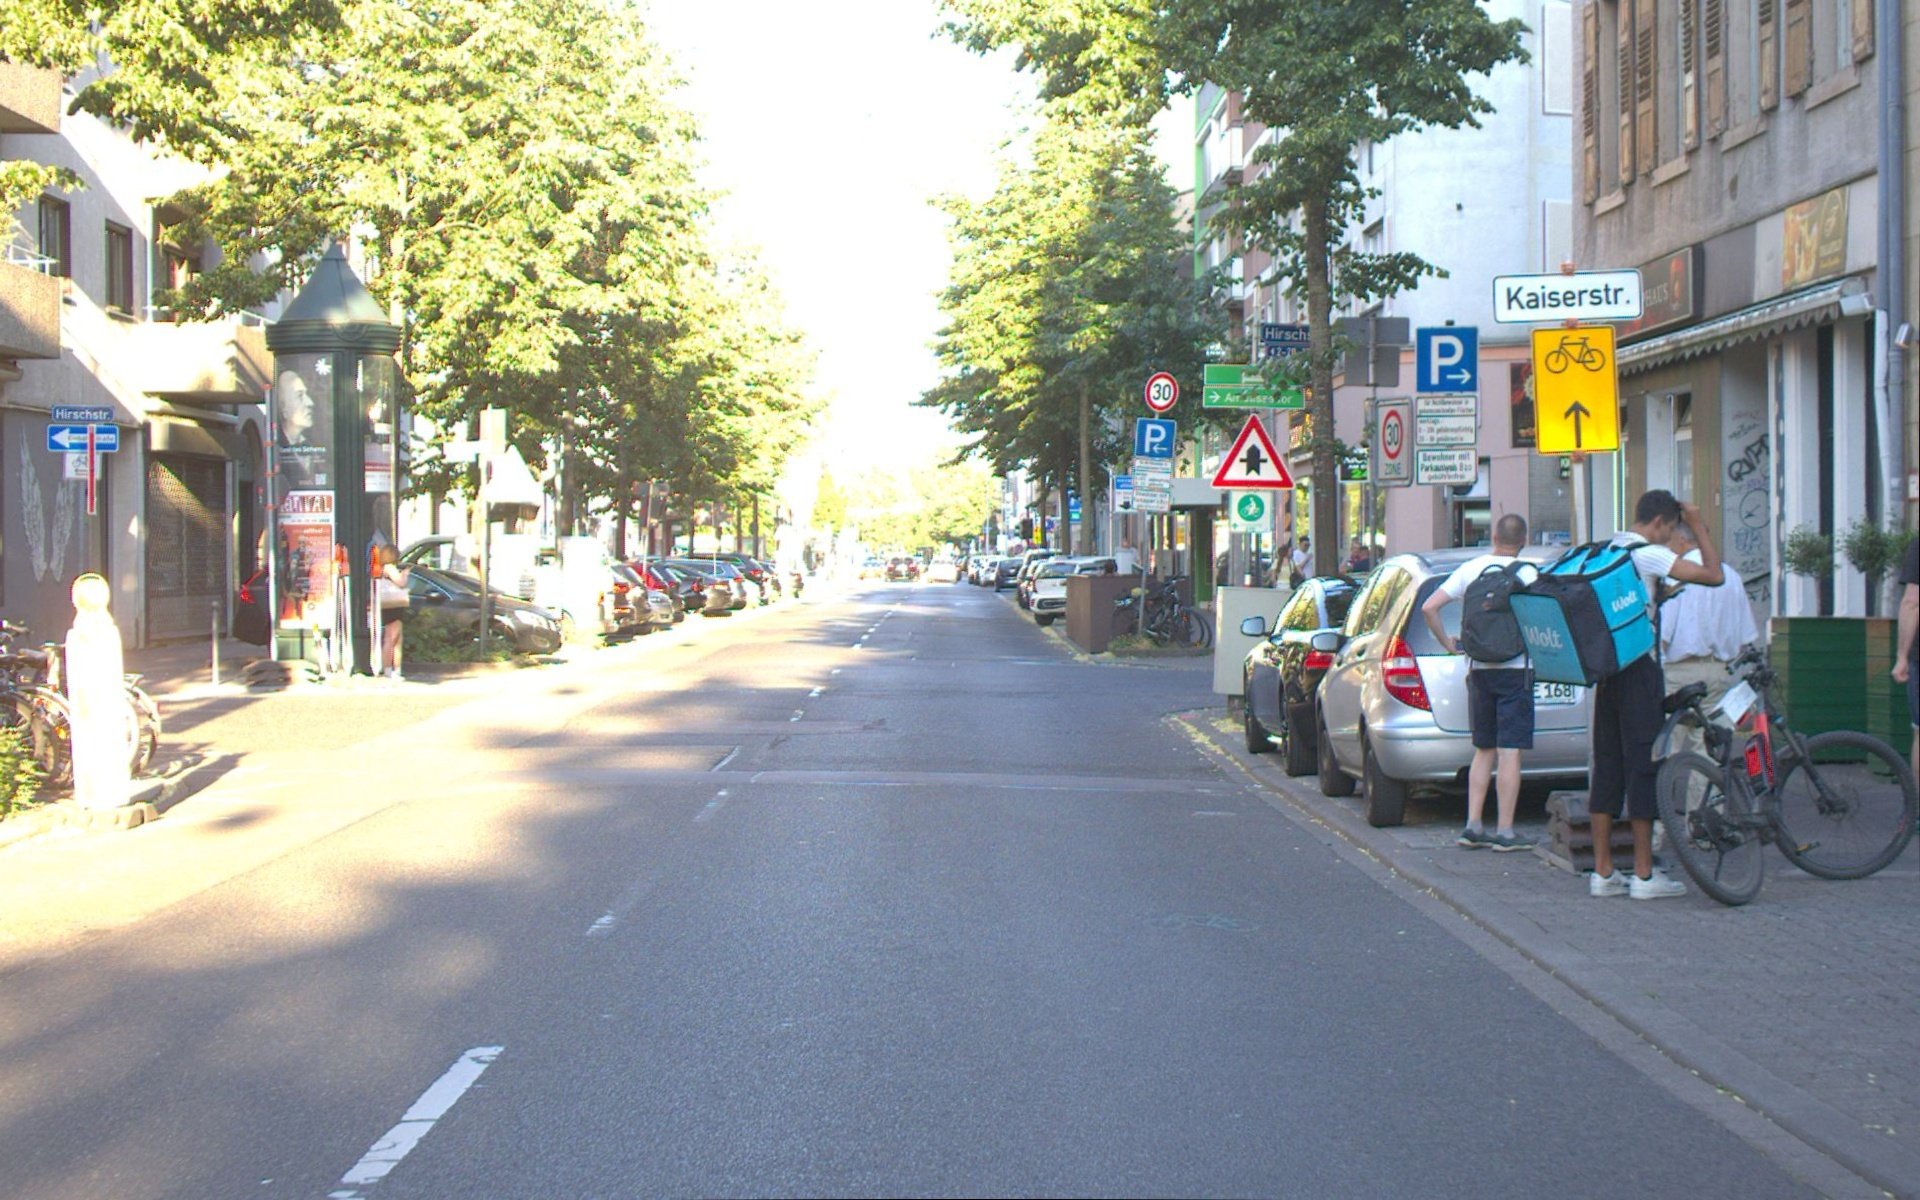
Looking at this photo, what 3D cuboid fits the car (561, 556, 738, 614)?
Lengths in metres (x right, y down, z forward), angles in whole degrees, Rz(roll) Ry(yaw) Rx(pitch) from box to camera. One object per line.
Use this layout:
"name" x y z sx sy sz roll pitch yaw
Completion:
"car" -8.101 -0.409 89.997 4.442 1.444 1.919 1 0 1

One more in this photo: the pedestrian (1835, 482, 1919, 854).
"pedestrian" 5.092 0.316 17.657 0.822 1.847 1.097 -3 1 -2

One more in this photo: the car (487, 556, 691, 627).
"car" -8.469 -0.201 78.763 4.442 1.562 1.919 1 0 1

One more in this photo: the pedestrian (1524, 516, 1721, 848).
"pedestrian" 3.528 0.424 18.361 0.677 1.700 0.825 -3 1 -15

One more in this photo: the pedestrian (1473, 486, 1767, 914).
"pedestrian" 2.946 0.430 15.412 1.013 1.819 0.780 -3 1 -10

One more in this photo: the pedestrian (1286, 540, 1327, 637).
"pedestrian" 6.028 -0.204 59.781 0.631 1.674 0.891 0 1 11

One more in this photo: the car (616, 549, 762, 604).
"car" -8.279 -0.717 105.269 4.304 1.592 1.919 1 0 1

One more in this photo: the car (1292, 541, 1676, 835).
"car" 3.122 0.459 21.206 1.687 1.569 4.013 -3 1 0

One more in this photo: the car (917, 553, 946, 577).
"car" -1.767 -2.143 211.716 1.721 1.470 3.303 0 0 1

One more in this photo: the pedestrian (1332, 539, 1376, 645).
"pedestrian" 6.047 -0.133 52.827 0.567 1.594 0.663 -1 2 0

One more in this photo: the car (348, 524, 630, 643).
"car" -8.066 -0.291 59.186 4.571 1.955 1.991 1 0 0

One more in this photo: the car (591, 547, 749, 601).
"car" -8.501 -0.768 100.870 4.442 1.518 1.919 1 0 1

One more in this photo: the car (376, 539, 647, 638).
"car" -8.021 -0.220 61.817 4.571 1.692 2.060 1 0 1

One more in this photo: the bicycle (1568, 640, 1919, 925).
"bicycle" 3.590 0.777 15.364 0.866 1.095 1.922 -1 2 39

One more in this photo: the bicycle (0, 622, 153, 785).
"bicycle" -6.512 0.698 23.864 1.683 1.075 0.444 3 -1 8

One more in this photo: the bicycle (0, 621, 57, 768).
"bicycle" -7.410 0.676 25.147 1.486 1.055 0.471 1 0 -6

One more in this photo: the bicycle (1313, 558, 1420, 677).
"bicycle" 3.941 0.164 33.465 0.778 1.108 1.899 -1 0 0

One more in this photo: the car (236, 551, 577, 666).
"car" -7.800 0.113 48.721 4.546 1.536 1.811 1 0 -1

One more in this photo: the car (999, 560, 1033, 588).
"car" 2.565 -1.184 157.299 1.513 1.271 3.303 0 0 1

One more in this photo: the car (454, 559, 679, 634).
"car" -8.149 -0.082 71.470 4.442 1.479 1.809 1 0 1

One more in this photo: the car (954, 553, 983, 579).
"car" 0.530 -2.083 209.610 1.752 1.535 3.303 0 0 1

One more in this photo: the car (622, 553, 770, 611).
"car" -8.214 -0.561 107.372 4.442 1.753 1.919 1 0 1

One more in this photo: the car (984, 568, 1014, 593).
"car" 1.981 -1.009 175.303 1.513 1.259 3.303 0 0 1

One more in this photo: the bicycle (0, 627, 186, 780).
"bicycle" -6.444 0.728 24.583 1.683 1.018 0.444 3 -1 8

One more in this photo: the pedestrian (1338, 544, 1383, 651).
"pedestrian" 6.063 -0.046 52.063 0.567 1.578 0.663 -1 2 0

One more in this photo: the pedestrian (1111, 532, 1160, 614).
"pedestrian" 4.169 -0.636 81.825 0.916 1.919 1.018 1 1 -10

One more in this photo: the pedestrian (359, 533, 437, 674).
"pedestrian" -6.784 0.036 41.523 0.710 1.680 0.833 0 1 9

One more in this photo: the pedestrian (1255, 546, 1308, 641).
"pedestrian" 5.512 -0.116 58.998 0.797 1.620 0.911 0 1 12

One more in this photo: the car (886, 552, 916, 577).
"car" -3.727 -2.251 217.227 1.752 1.535 3.303 0 0 1

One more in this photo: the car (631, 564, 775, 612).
"car" -8.251 -0.392 110.494 4.442 1.494 1.919 1 0 1

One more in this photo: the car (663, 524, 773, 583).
"car" -10.170 -1.968 144.821 4.442 2.426 1.919 1 0 1

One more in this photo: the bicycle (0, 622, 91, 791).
"bicycle" -6.652 0.673 22.681 1.682 1.075 0.444 3 -1 -1

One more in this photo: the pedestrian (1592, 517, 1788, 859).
"pedestrian" 3.747 0.441 17.645 0.651 1.694 0.668 -3 1 -44

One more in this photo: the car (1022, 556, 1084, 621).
"car" 2.305 -0.285 85.706 1.513 1.572 3.218 0 0 1

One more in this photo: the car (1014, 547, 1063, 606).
"car" 2.509 -0.749 109.726 1.513 1.858 4.235 0 0 1

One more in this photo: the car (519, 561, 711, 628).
"car" -8.342 -0.141 83.396 4.442 1.562 1.919 1 0 1

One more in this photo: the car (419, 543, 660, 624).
"car" -8.148 -0.322 66.898 4.442 1.501 1.844 1 0 1

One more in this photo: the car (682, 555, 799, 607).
"car" -8.576 -0.744 134.655 4.442 1.953 1.919 1 0 1

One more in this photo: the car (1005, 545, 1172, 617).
"car" 2.926 -0.433 77.641 1.674 1.583 3.814 1 1 43

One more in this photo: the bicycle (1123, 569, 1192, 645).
"bicycle" 3.128 0.098 54.371 0.598 1.174 1.844 0 1 19

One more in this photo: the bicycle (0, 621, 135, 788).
"bicycle" -6.497 0.680 23.272 1.683 1.075 0.444 3 -1 8

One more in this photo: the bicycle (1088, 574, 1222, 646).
"bicycle" 2.990 0.142 52.911 1.958 1.070 0.704 1 1 32

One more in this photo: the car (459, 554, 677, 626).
"car" -8.378 -0.221 73.775 4.442 1.453 1.859 1 0 1

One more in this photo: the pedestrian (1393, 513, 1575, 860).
"pedestrian" 2.710 0.433 17.839 0.677 1.748 0.825 -1 0 -11

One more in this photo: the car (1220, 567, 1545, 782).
"car" 3.069 0.491 25.836 1.785 1.371 4.524 -3 1 -1

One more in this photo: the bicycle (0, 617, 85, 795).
"bicycle" -6.399 0.657 21.789 1.544 1.113 0.444 3 -1 -33
